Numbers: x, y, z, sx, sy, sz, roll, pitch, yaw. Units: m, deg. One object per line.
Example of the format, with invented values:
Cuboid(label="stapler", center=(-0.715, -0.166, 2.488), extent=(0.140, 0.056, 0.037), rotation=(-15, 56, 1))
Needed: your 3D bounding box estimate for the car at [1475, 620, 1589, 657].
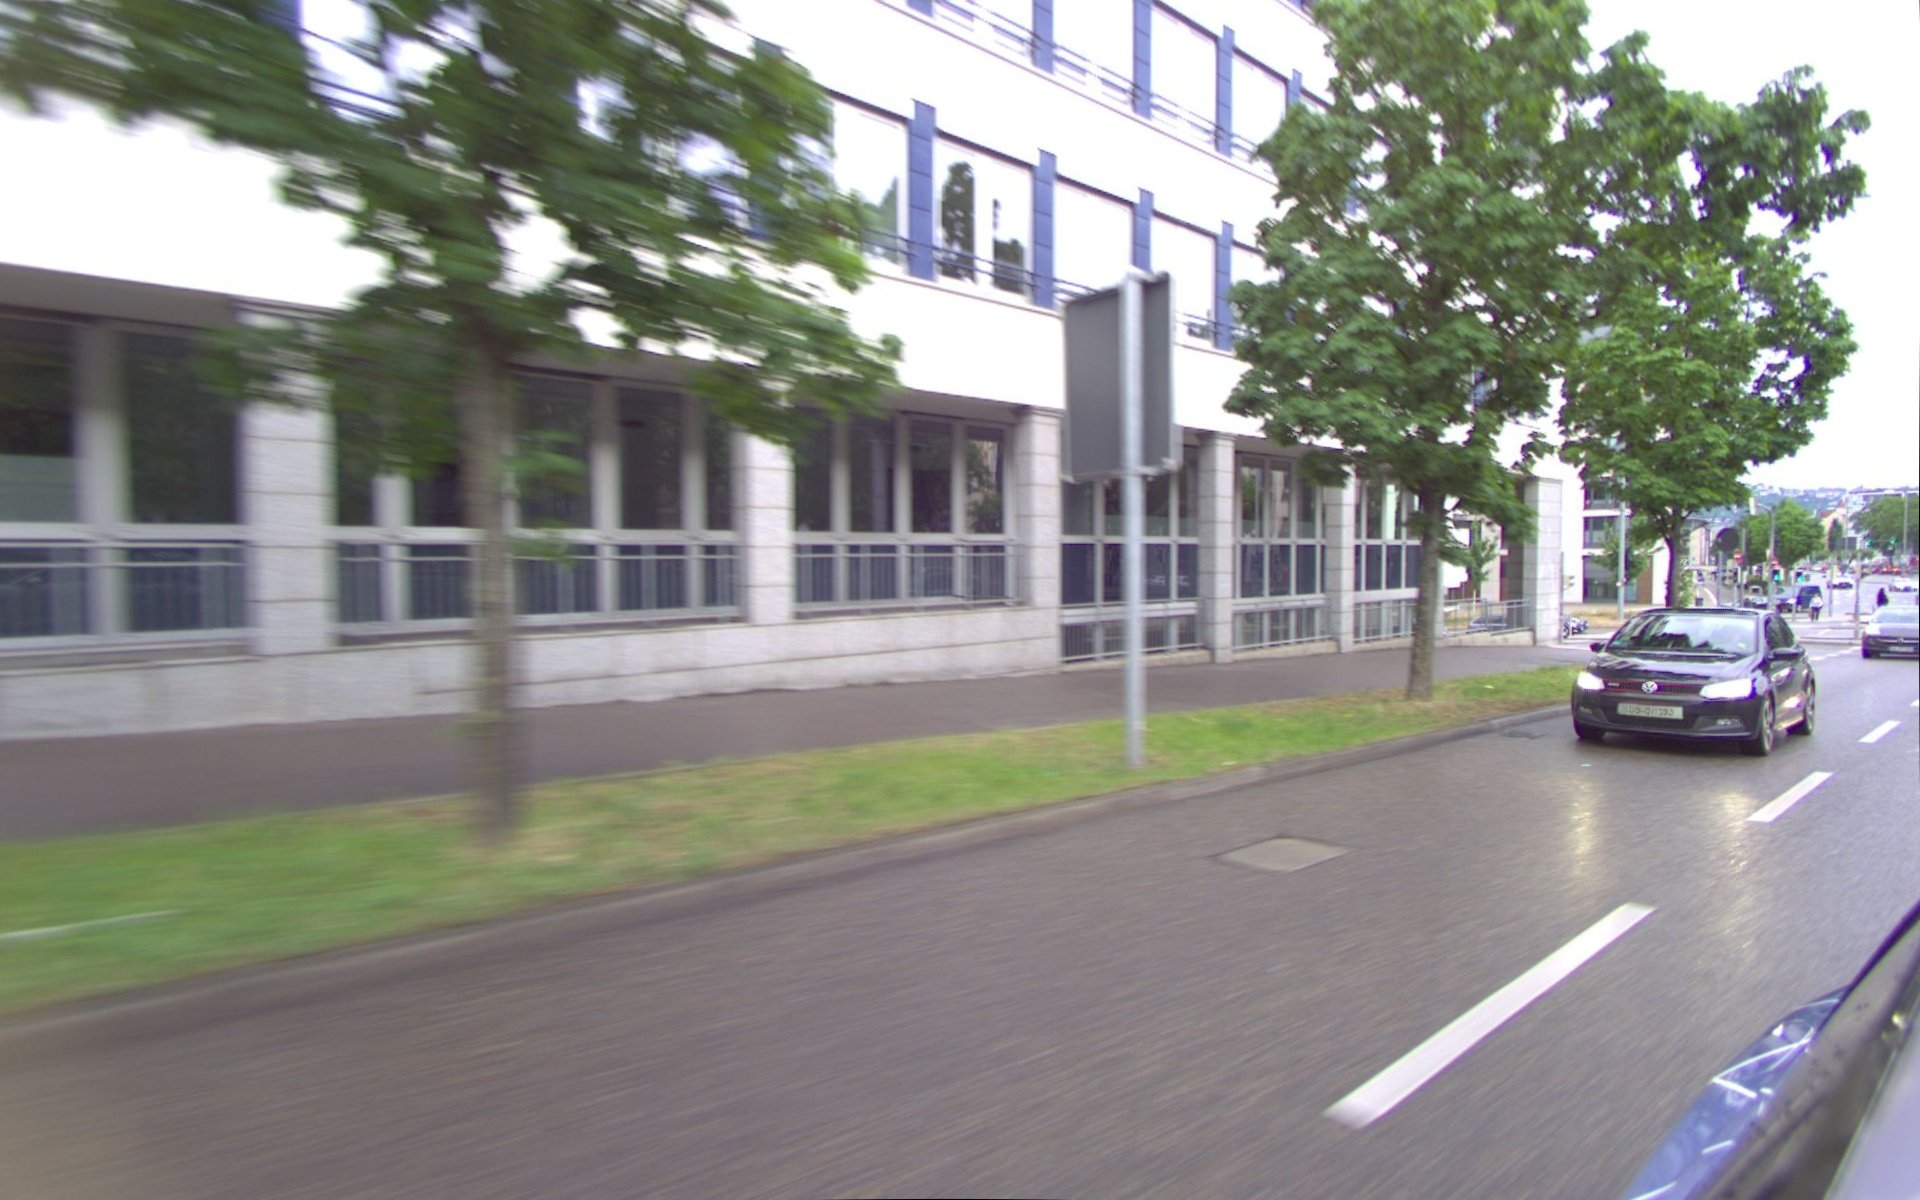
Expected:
Cuboid(label="car", center=(27.075, 1.798, 48.074), extent=(1.818, 1.407, 4.494), rotation=(-1, 2, -26))

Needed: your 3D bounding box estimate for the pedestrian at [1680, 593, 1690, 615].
Cuboid(label="pedestrian", center=(55.779, 0.302, 77.841), extent=(0.584, 1.630, 0.597), rotation=(-1, 0, 35))

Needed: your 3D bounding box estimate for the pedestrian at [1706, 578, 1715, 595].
Cuboid(label="pedestrian", center=(67.739, -1.220, 91.354), extent=(0.582, 1.496, 0.599), rotation=(-1, 0, 27))

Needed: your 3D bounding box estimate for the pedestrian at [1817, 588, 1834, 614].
Cuboid(label="pedestrian", center=(50.185, 0.054, 58.688), extent=(0.582, 1.496, 0.599), rotation=(-1, 0, 27))

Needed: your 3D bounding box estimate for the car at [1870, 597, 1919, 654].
Cuboid(label="car", center=(26.735, 0.663, 28.062), extent=(3.641, 1.459, 1.750), rotation=(-1, 0, -40))

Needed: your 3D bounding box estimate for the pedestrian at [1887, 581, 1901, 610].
Cuboid(label="pedestrian", center=(59.364, -0.283, 64.297), extent=(0.601, 1.825, 0.579), rotation=(-1, 0, 41))

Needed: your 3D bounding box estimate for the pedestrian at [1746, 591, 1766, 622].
Cuboid(label="pedestrian", center=(42.830, 0.354, 54.447), extent=(0.633, 1.645, 0.707), rotation=(-1, 0, -40))

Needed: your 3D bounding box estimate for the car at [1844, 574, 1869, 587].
Cuboid(label="car", center=(109.071, -2.411, 123.156), extent=(1.789, 1.529, 3.949), rotation=(-1, 0, 36))

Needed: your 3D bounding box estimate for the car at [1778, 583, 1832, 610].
Cuboid(label="car", center=(62.194, -0.278, 74.498), extent=(4.208, 1.885, 1.801), rotation=(-1, 0, -32))

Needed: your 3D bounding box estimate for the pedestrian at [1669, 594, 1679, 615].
Cuboid(label="pedestrian", center=(55.307, 0.325, 78.426), extent=(0.584, 1.630, 0.597), rotation=(-1, 0, 35))

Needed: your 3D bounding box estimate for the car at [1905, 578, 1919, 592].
Cuboid(label="car", center=(105.401, -1.673, 111.142), extent=(1.789, 1.529, 3.949), rotation=(-1, 0, 36))

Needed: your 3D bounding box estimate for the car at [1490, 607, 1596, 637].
Cuboid(label="car", center=(30.798, 1.196, 53.553), extent=(1.826, 1.408, 4.473), rotation=(-3, 0, -43))

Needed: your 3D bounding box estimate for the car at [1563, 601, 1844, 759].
Cuboid(label="car", center=(8.190, 0.729, 11.042), extent=(3.781, 1.417, 1.676), rotation=(0, 0, -41))

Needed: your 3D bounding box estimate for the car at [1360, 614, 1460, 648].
Cuboid(label="car", center=(23.986, 1.641, 54.072), extent=(1.823, 1.689, 4.481), rotation=(-2, 0, -38))

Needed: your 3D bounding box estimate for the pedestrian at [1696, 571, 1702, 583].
Cuboid(label="pedestrian", center=(87.261, -2.705, 119.511), extent=(0.584, 1.496, 0.596), rotation=(-1, 0, 36))
